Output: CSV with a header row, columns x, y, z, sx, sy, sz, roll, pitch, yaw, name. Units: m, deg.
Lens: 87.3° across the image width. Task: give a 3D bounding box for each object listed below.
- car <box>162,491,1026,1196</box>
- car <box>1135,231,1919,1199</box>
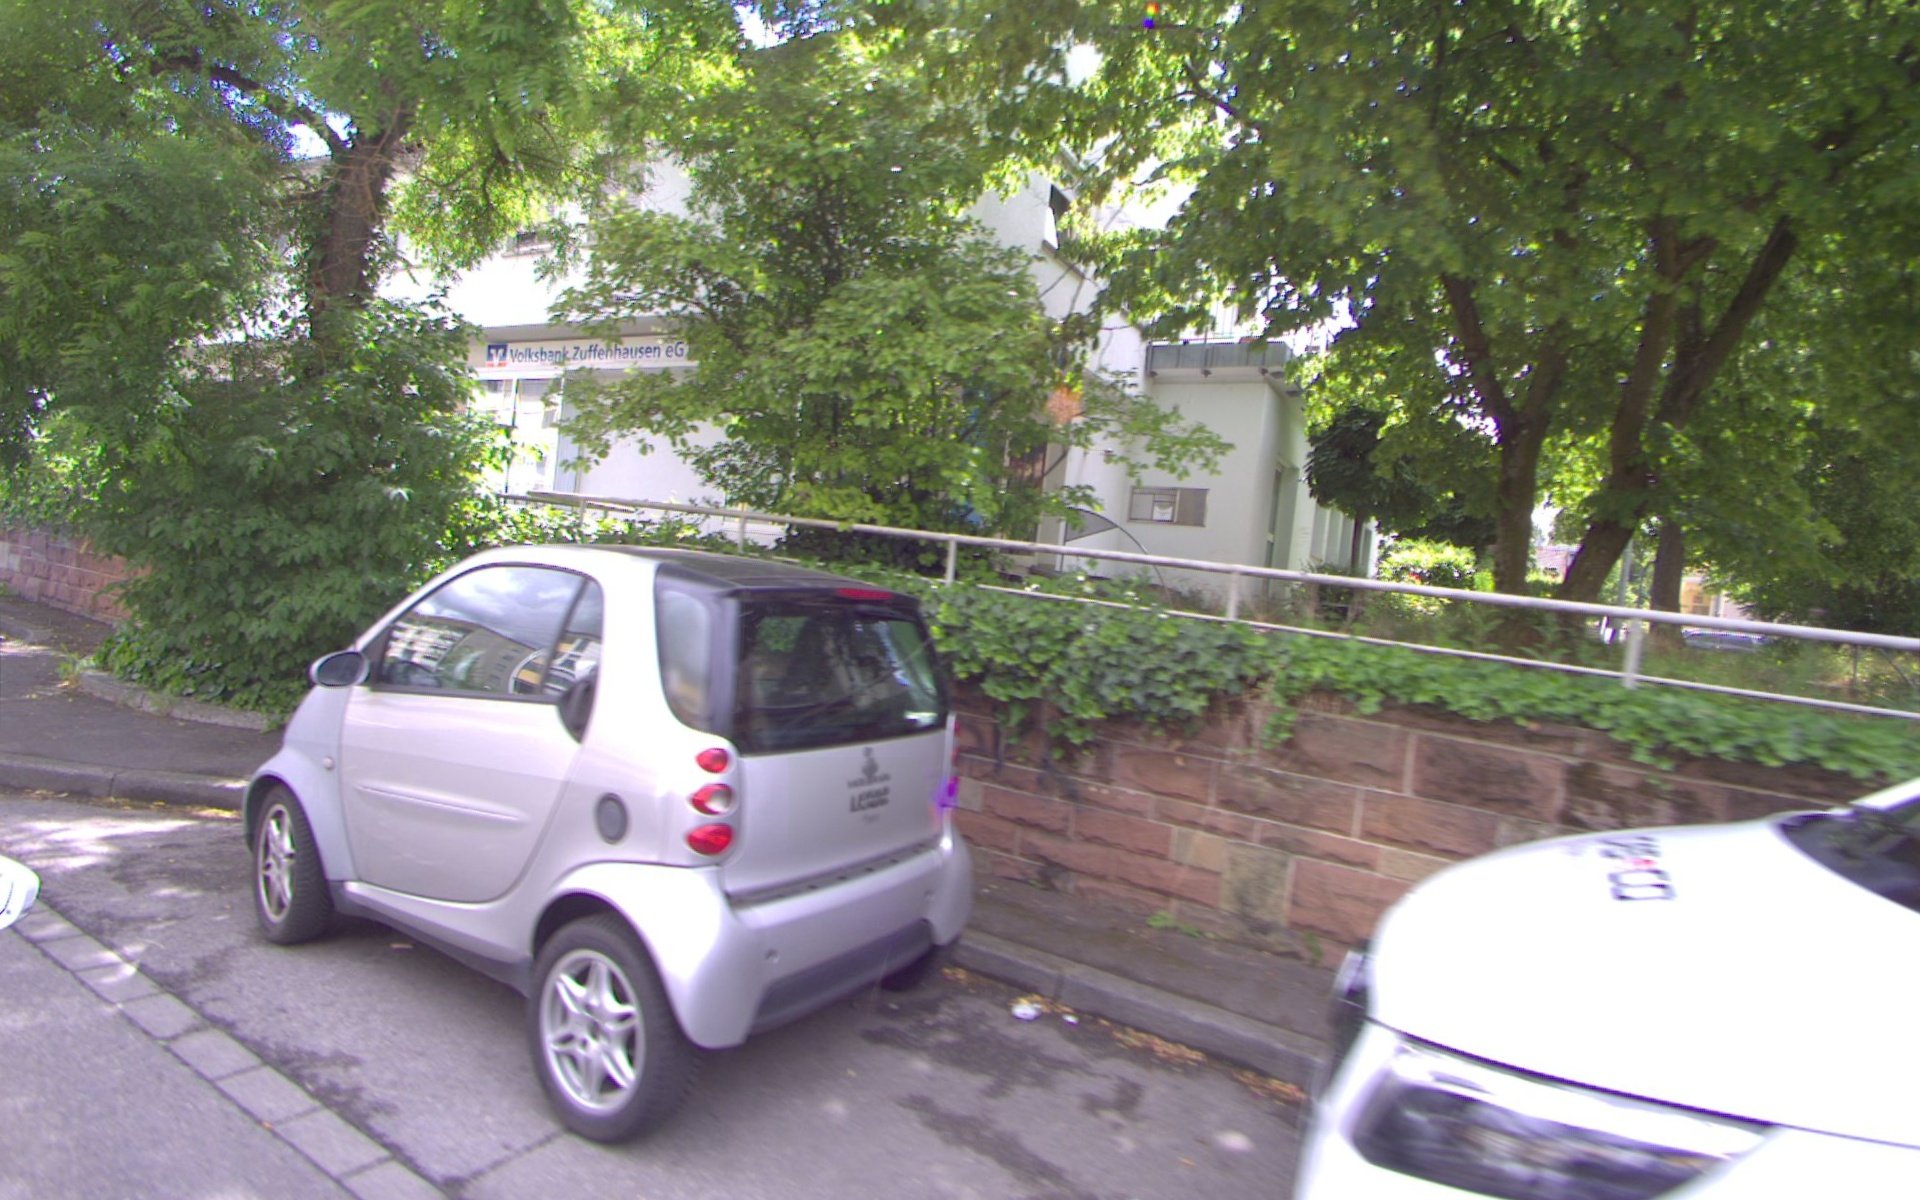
x,y,z,sx,sy,sz,roll,pitch,yaw,name
-1.413,0.546,3.765,2.799,1.554,1.514,7,2,31,car
3.175,0.888,0.829,5.647,1.984,1.916,7,1,30,car
